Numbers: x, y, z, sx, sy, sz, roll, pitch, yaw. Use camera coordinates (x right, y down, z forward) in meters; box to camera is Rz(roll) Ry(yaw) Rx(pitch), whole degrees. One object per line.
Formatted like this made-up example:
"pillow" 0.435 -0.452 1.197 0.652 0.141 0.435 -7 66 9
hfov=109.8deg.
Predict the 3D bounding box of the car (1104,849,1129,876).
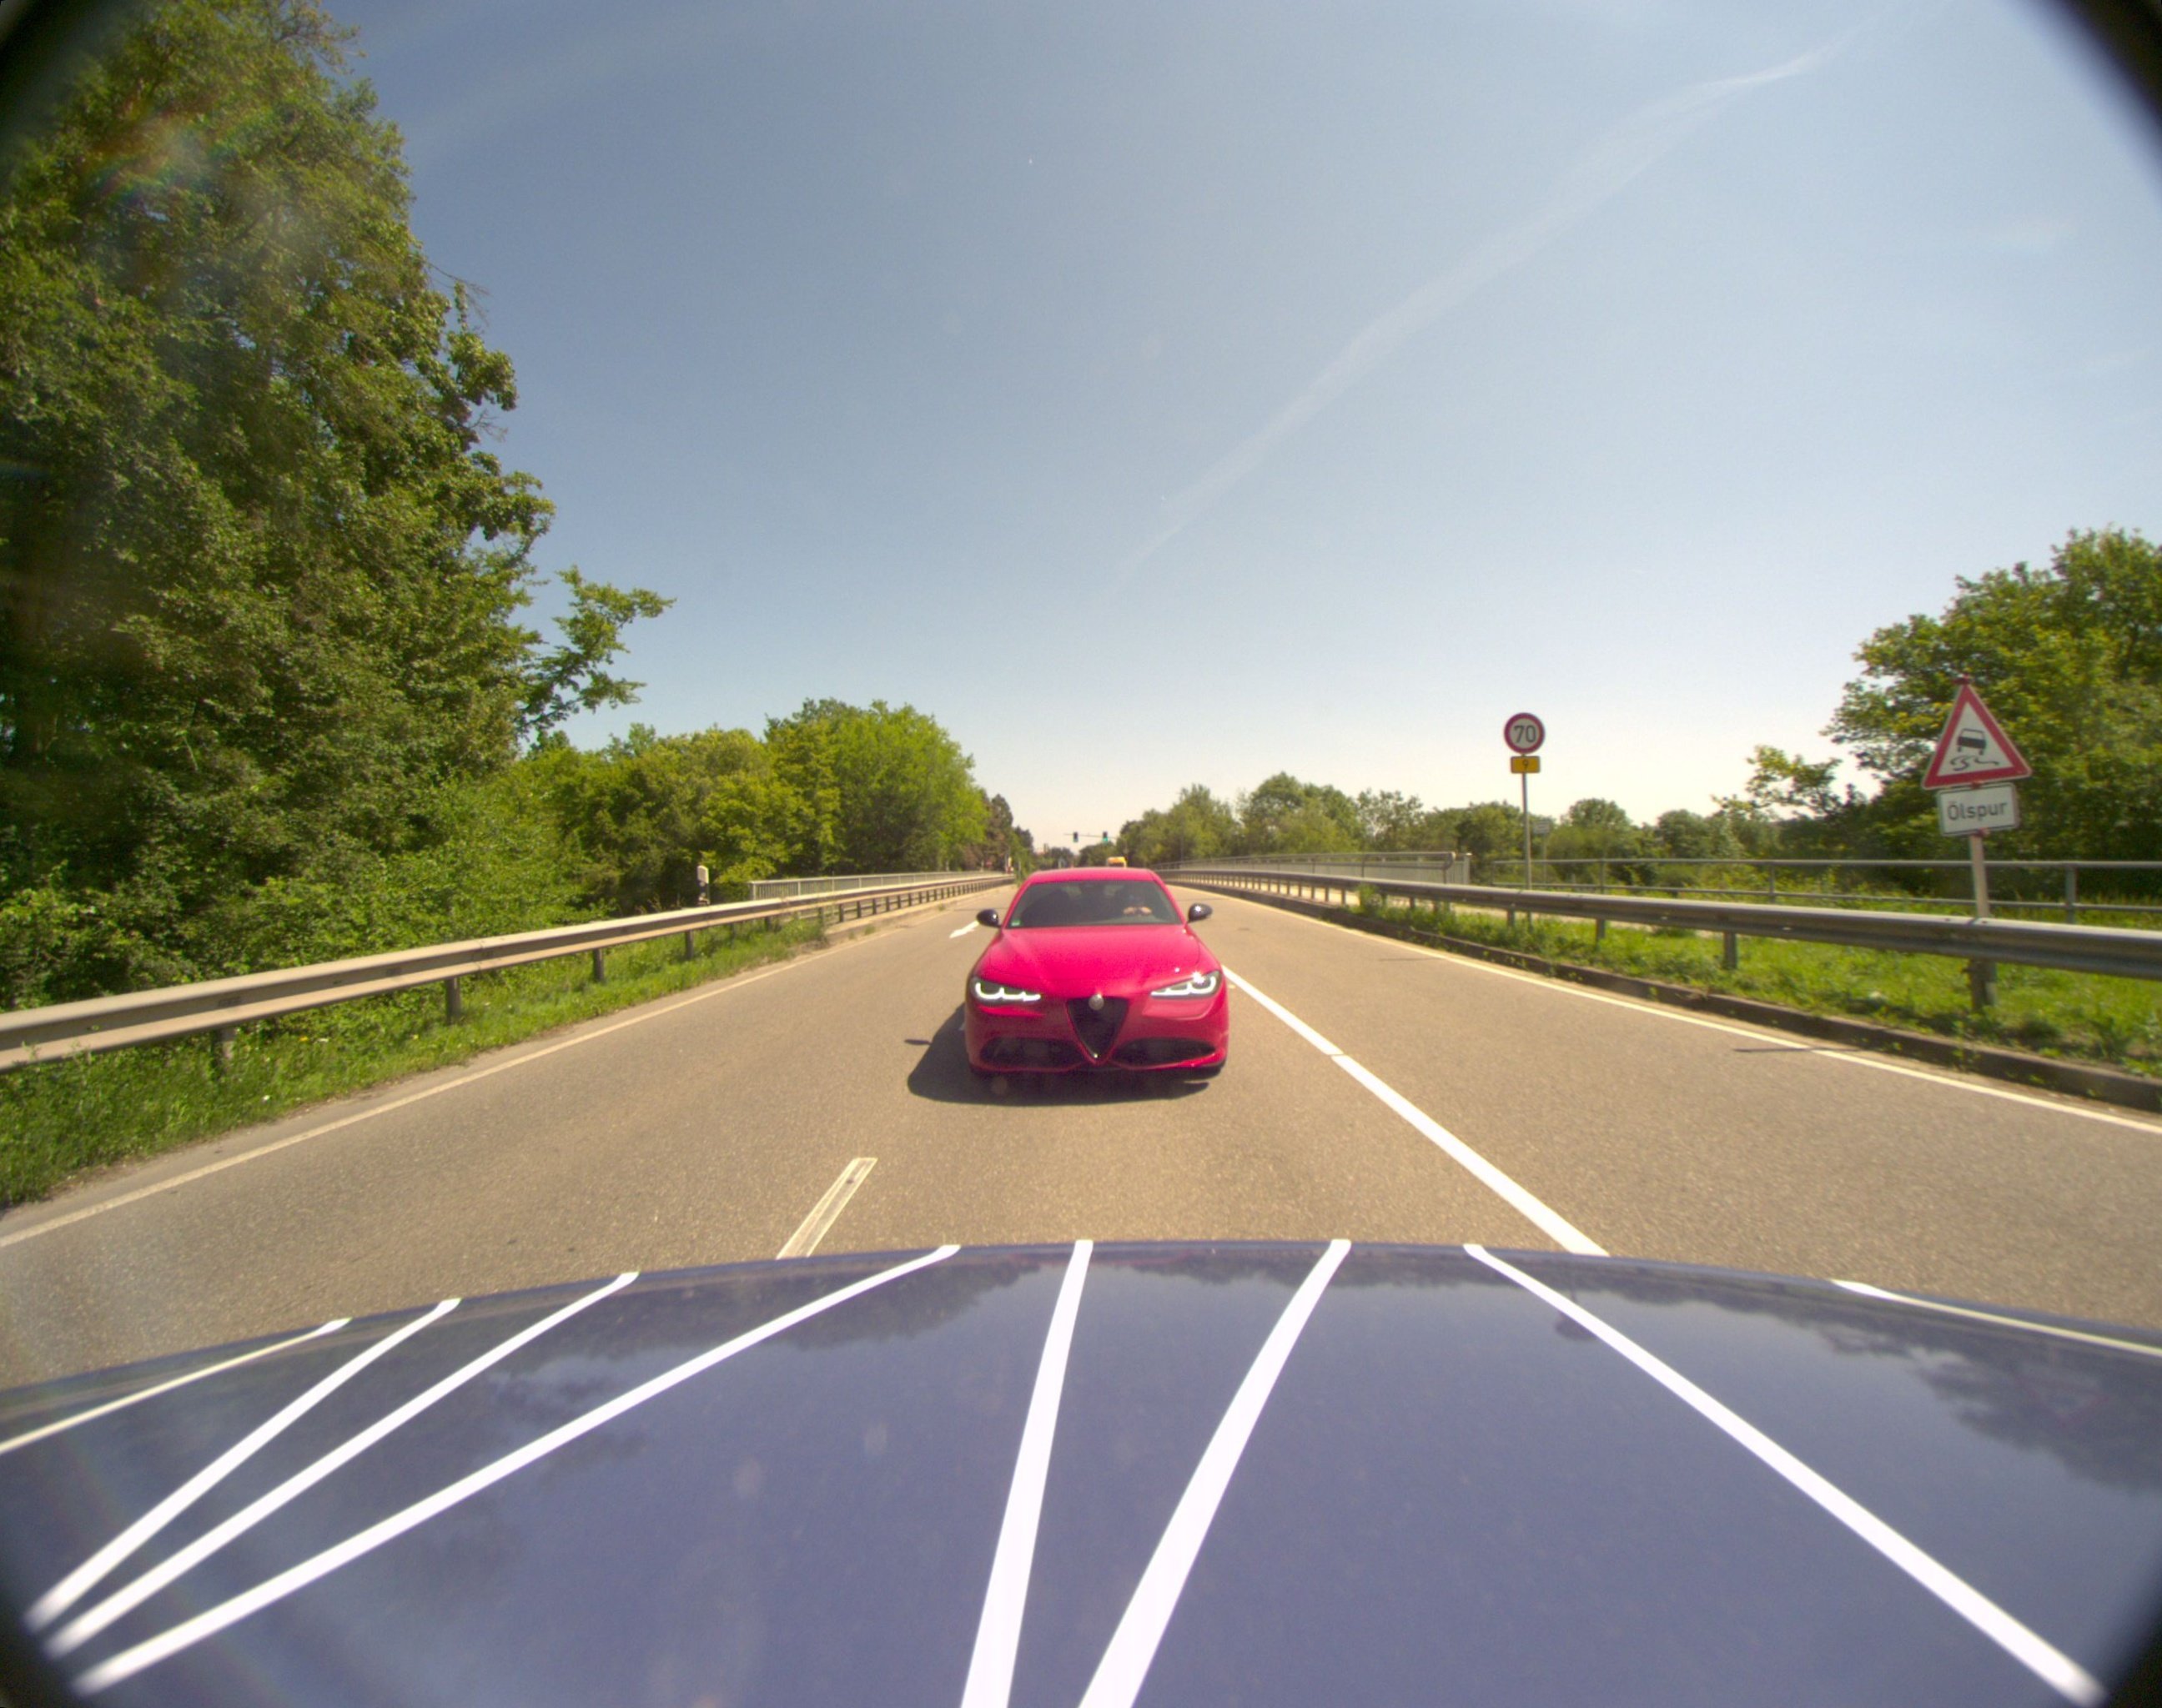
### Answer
"car" 3.303 0.789 71.713 1.995 2.354 5.181 -2 0 0

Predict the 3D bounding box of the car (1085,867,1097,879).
"car" 1.670 3.146 125.655 1.848 1.758 4.000 -1 0 0

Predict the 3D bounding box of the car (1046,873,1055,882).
"car" -5.266 4.105 133.053 1.416 1.499 3.316 -1 0 0

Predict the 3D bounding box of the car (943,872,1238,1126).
"car" 0.073 0.955 6.865 1.800 1.448 4.285 -1 0 0

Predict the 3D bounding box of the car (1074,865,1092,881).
"car" 0.218 1.948 78.834 1.800 1.448 3.707 -1 0 1
